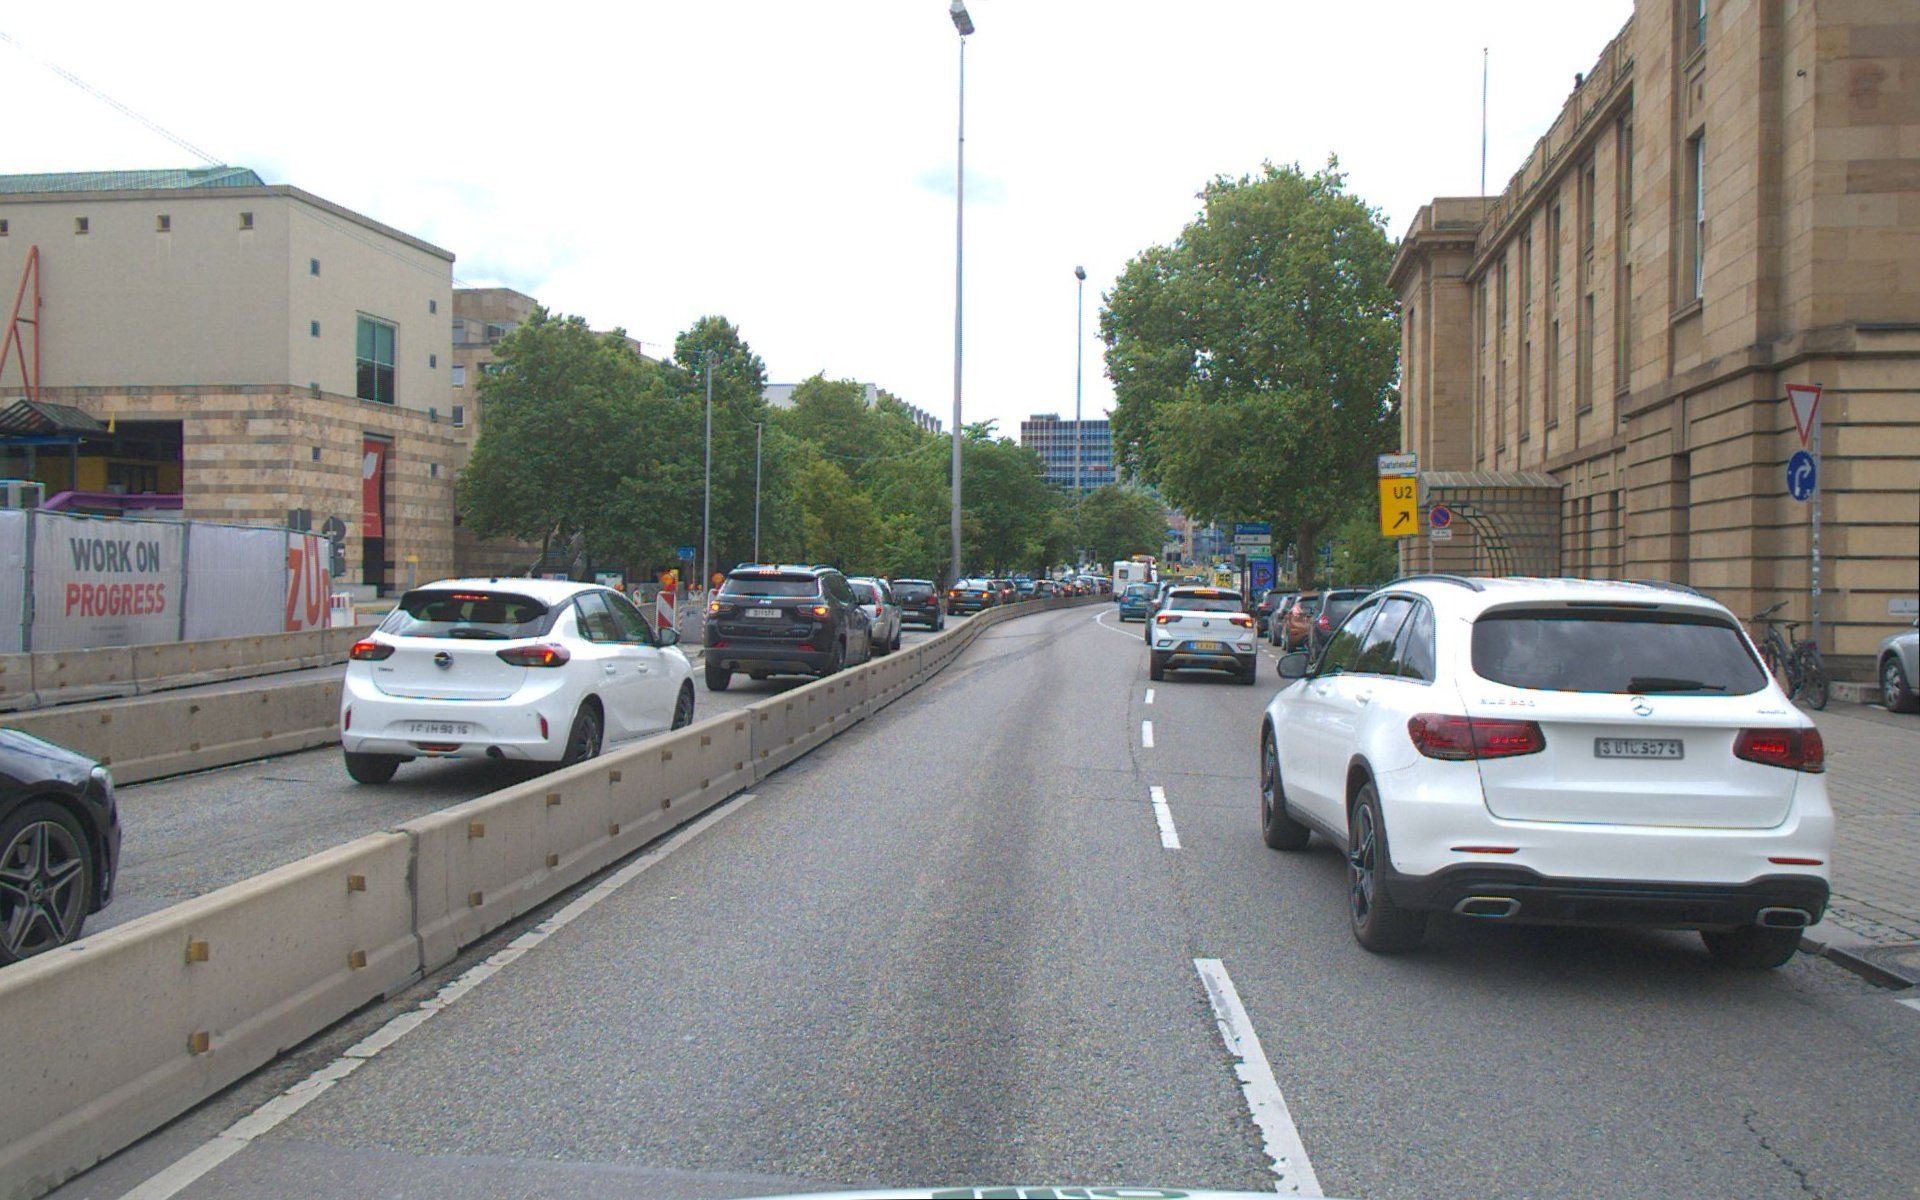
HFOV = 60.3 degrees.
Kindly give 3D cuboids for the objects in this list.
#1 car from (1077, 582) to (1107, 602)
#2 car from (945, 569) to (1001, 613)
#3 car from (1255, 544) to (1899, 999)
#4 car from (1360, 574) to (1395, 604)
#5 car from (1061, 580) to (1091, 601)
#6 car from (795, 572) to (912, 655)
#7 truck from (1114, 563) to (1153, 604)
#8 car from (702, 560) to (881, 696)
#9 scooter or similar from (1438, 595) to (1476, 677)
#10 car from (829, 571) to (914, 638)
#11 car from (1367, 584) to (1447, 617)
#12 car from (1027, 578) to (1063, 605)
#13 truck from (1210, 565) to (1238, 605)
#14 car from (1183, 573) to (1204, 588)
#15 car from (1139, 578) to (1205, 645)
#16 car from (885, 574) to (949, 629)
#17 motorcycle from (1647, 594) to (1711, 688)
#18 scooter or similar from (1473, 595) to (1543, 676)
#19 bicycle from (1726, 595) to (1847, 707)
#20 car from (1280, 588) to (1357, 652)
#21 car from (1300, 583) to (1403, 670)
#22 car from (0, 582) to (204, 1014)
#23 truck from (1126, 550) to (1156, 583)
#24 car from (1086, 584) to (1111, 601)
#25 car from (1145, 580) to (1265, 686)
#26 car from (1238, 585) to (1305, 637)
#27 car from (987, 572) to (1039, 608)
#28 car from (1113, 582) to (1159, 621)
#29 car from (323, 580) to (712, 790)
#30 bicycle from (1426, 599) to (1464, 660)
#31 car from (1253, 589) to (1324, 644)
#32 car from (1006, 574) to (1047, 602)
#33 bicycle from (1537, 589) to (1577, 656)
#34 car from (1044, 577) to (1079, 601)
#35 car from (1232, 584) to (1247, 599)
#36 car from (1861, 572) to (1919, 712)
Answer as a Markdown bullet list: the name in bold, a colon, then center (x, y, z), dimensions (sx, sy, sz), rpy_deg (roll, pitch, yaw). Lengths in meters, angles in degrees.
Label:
- **car**: center (9.270, -0.588, 116.261), dimensions (1.624, 1.342, 3.550), rpy_deg (2, 0, 12)
- **car**: center (0.563, -0.370, 66.686), dimensions (1.883, 1.664, 4.939), rpy_deg (2, 0, 4)
- **car**: center (2.718, 0.629, 8.455), dimensions (1.751, 1.653, 4.439), rpy_deg (2, 0, 2)
- **car**: center (24.425, -0.689, 96.854), dimensions (1.723, 1.578, 4.031), rpy_deg (1, 3, 10)
- **car**: center (7.843, -0.636, 111.338), dimensions (1.624, 1.342, 3.550), rpy_deg (2, 0, 10)
- **car**: center (-2.079, 0.237, 33.496), dimensions (1.839, 1.507, 4.706), rpy_deg (2, 0, 2)
- **truck**: center (13.079, -1.242, 124.397), dimensions (2.565, 2.911, 7.085), rpy_deg (2, 1, 8)
- **car**: center (-2.200, 0.341, 22.683), dimensions (1.739, 1.649, 4.048), rpy_deg (2, 0, 4)
- **scooter or similar**: center (8.022, 0.561, 26.741), dimensions (0.371, 1.283, 1.404), rpy_deg (1, 0, 8)
- **car**: center (-2.140, 0.097, 40.997), dimensions (1.637, 1.533, 3.856), rpy_deg (2, 0, 3)
- **car**: center (22.782, 0.015, 84.366), dimensions (3.754, 1.596, 1.681), rpy_deg (1, 1, 9)
- **car**: center (4.940, -0.468, 95.485), dimensions (1.626, 1.461, 3.964), rpy_deg (2, 0, 9)
- **truck**: center (28.351, -1.612, 177.839), dimensions (2.816, 4.174, 6.643), rpy_deg (2, 1, 8)
- **car**: center (23.314, -1.926, 165.320), dimensions (1.905, 1.342, 4.020), rpy_deg (2, 0, 10)
- **car**: center (5.588, 0.276, 43.790), dimensions (1.624, 1.667, 3.550), rpy_deg (1, 1, 7)
- **car**: center (-1.216, 0.029, 48.208), dimensions (1.625, 1.479, 4.199), rpy_deg (2, 0, 1)
- **motorcycle**: center (10.097, 0.555, 23.269), dimensions (0.445, 1.264, 1.924), rpy_deg (0, 0, 12)
- **scooter or similar**: center (8.767, 0.563, 26.481), dimensions (0.443, 1.275, 1.365), rpy_deg (1, -1, -12)
- **bicycle**: center (9.886, 0.575, 19.865), dimensions (0.596, 1.246, 1.964), rpy_deg (-2, 0, 6)
- **car**: center (8.747, 0.462, 40.577), dimensions (1.581, 1.480, 3.861), rpy_deg (0, 0, 8)
- **car**: center (7.656, 0.480, 32.619), dimensions (1.513, 1.579, 3.711), rpy_deg (-2, 0, 7)
- **car**: center (-4.257, 0.661, 4.574), dimensions (1.815, 1.440, 4.569), rpy_deg (2, 1, 6)
- **truck**: center (17.965, -3.252, 163.820), dimensions (2.635, 3.043, 5.642), rpy_deg (3, 0, 8)
- **car**: center (11.318, -0.639, 134.994), dimensions (1.624, 1.342, 3.550), rpy_deg (2, 0, 10)
- **car**: center (4.119, 0.501, 28.292), dimensions (1.758, 1.636, 3.757), rpy_deg (1, 1, 5)
- **car**: center (9.878, 0.322, 52.688), dimensions (1.750, 1.512, 4.329), rpy_deg (2, 0, 6)
- **car**: center (2.434, -0.459, 74.790), dimensions (1.777, 1.525, 4.773), rpy_deg (1, 1, 9)
- **car**: center (7.048, 0.054, 66.043), dimensions (1.624, 1.438, 3.550), rpy_deg (2, 0, 9)
- **car**: center (-3.195, 0.547, 12.787), dimensions (1.690, 1.318, 3.937), rpy_deg (2, 0, 4)
- **bicycle**: center (9.696, 0.576, 33.097), dimensions (0.450, 1.177, 1.833), rpy_deg (1, 0, 7)
- **car**: center (9.060, 0.418, 45.860), dimensions (1.672, 1.451, 4.000), rpy_deg (0, 0, 8)
- **car**: center (3.497, -0.622, 86.436), dimensions (1.642, 1.390, 4.547), rpy_deg (1, 1, 9)
- **bicycle**: center (11.973, 0.428, 33.192), dimensions (0.403, 1.310, 1.792), rpy_deg (1, 0, 8)
- **car**: center (6.380, -0.688, 103.586), dimensions (1.738, 1.445, 4.004), rpy_deg (1, 1, 10)
- **car**: center (32.096, -0.956, 189.884), dimensions (1.721, 1.698, 4.172), rpy_deg (1, 1, 9)
- **car**: center (11.077, 0.491, 16.868), dimensions (1.740, 1.494, 4.579), rpy_deg (2, 1, 7)
